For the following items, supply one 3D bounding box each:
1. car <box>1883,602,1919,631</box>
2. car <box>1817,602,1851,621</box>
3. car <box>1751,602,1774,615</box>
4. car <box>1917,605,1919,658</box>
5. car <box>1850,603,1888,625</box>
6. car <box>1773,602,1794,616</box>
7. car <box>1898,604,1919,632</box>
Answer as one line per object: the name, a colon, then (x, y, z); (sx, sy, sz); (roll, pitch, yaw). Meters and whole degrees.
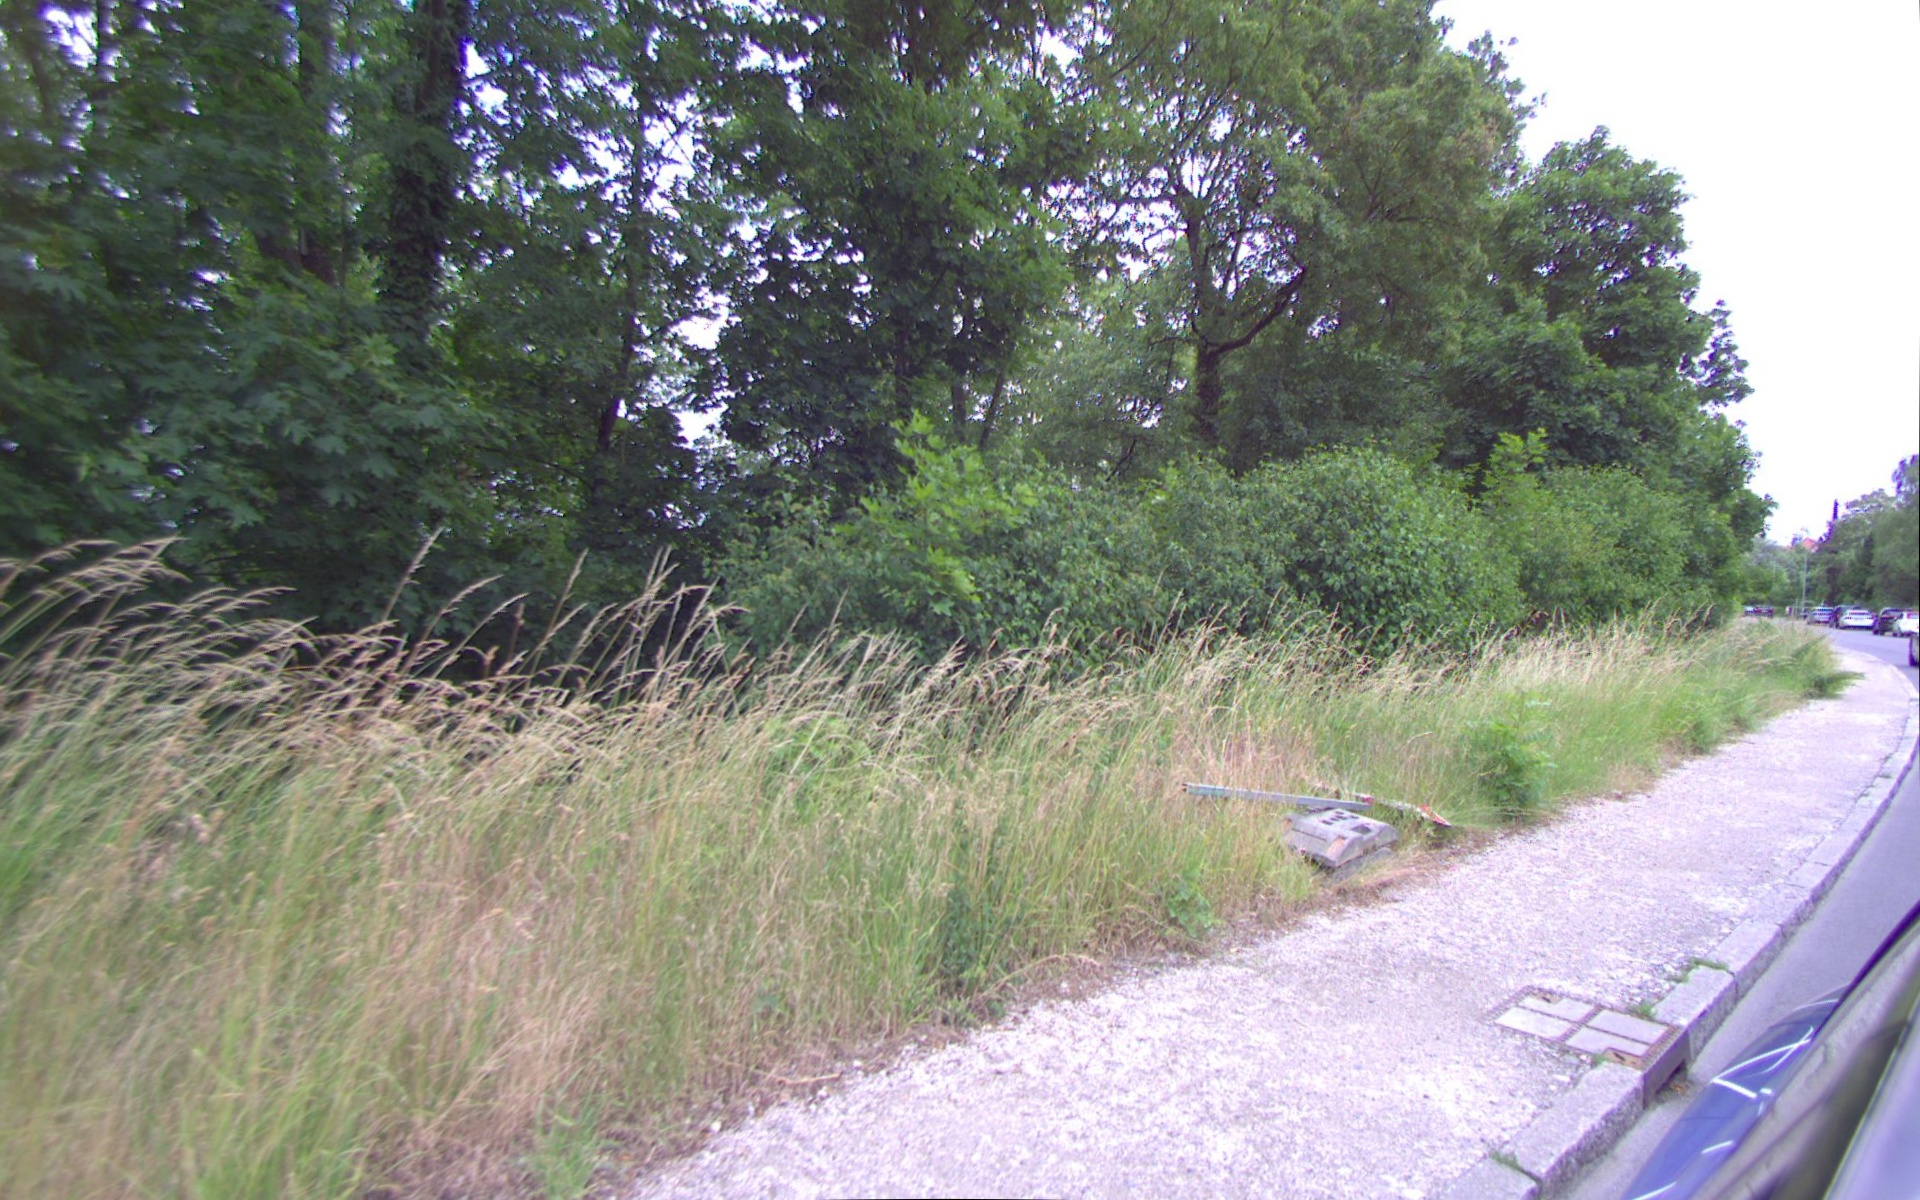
car: (58.280, 1.000, 62.130); (1.786, 1.685, 4.336); (1, 1, 35)
car: (77.741, 0.980, 90.049); (1.790, 1.627, 4.670); (1, 1, 35)
car: (111.855, 1.197, 141.103); (1.908, 1.701, 4.148); (1, 1, 31)
car: (26.986, 0.910, 27.007); (1.703, 1.493, 4.137); (1, 1, 38)
car: (67.203, 0.989, 74.866); (1.703, 1.530, 4.493); (1, 1, 37)
car: (106.966, 1.177, 131.478); (1.912, 1.701, 4.140); (1, 1, 36)
car: (55.859, 1.044, 58.607); (1.701, 1.530, 3.896); (1, 1, 35)
